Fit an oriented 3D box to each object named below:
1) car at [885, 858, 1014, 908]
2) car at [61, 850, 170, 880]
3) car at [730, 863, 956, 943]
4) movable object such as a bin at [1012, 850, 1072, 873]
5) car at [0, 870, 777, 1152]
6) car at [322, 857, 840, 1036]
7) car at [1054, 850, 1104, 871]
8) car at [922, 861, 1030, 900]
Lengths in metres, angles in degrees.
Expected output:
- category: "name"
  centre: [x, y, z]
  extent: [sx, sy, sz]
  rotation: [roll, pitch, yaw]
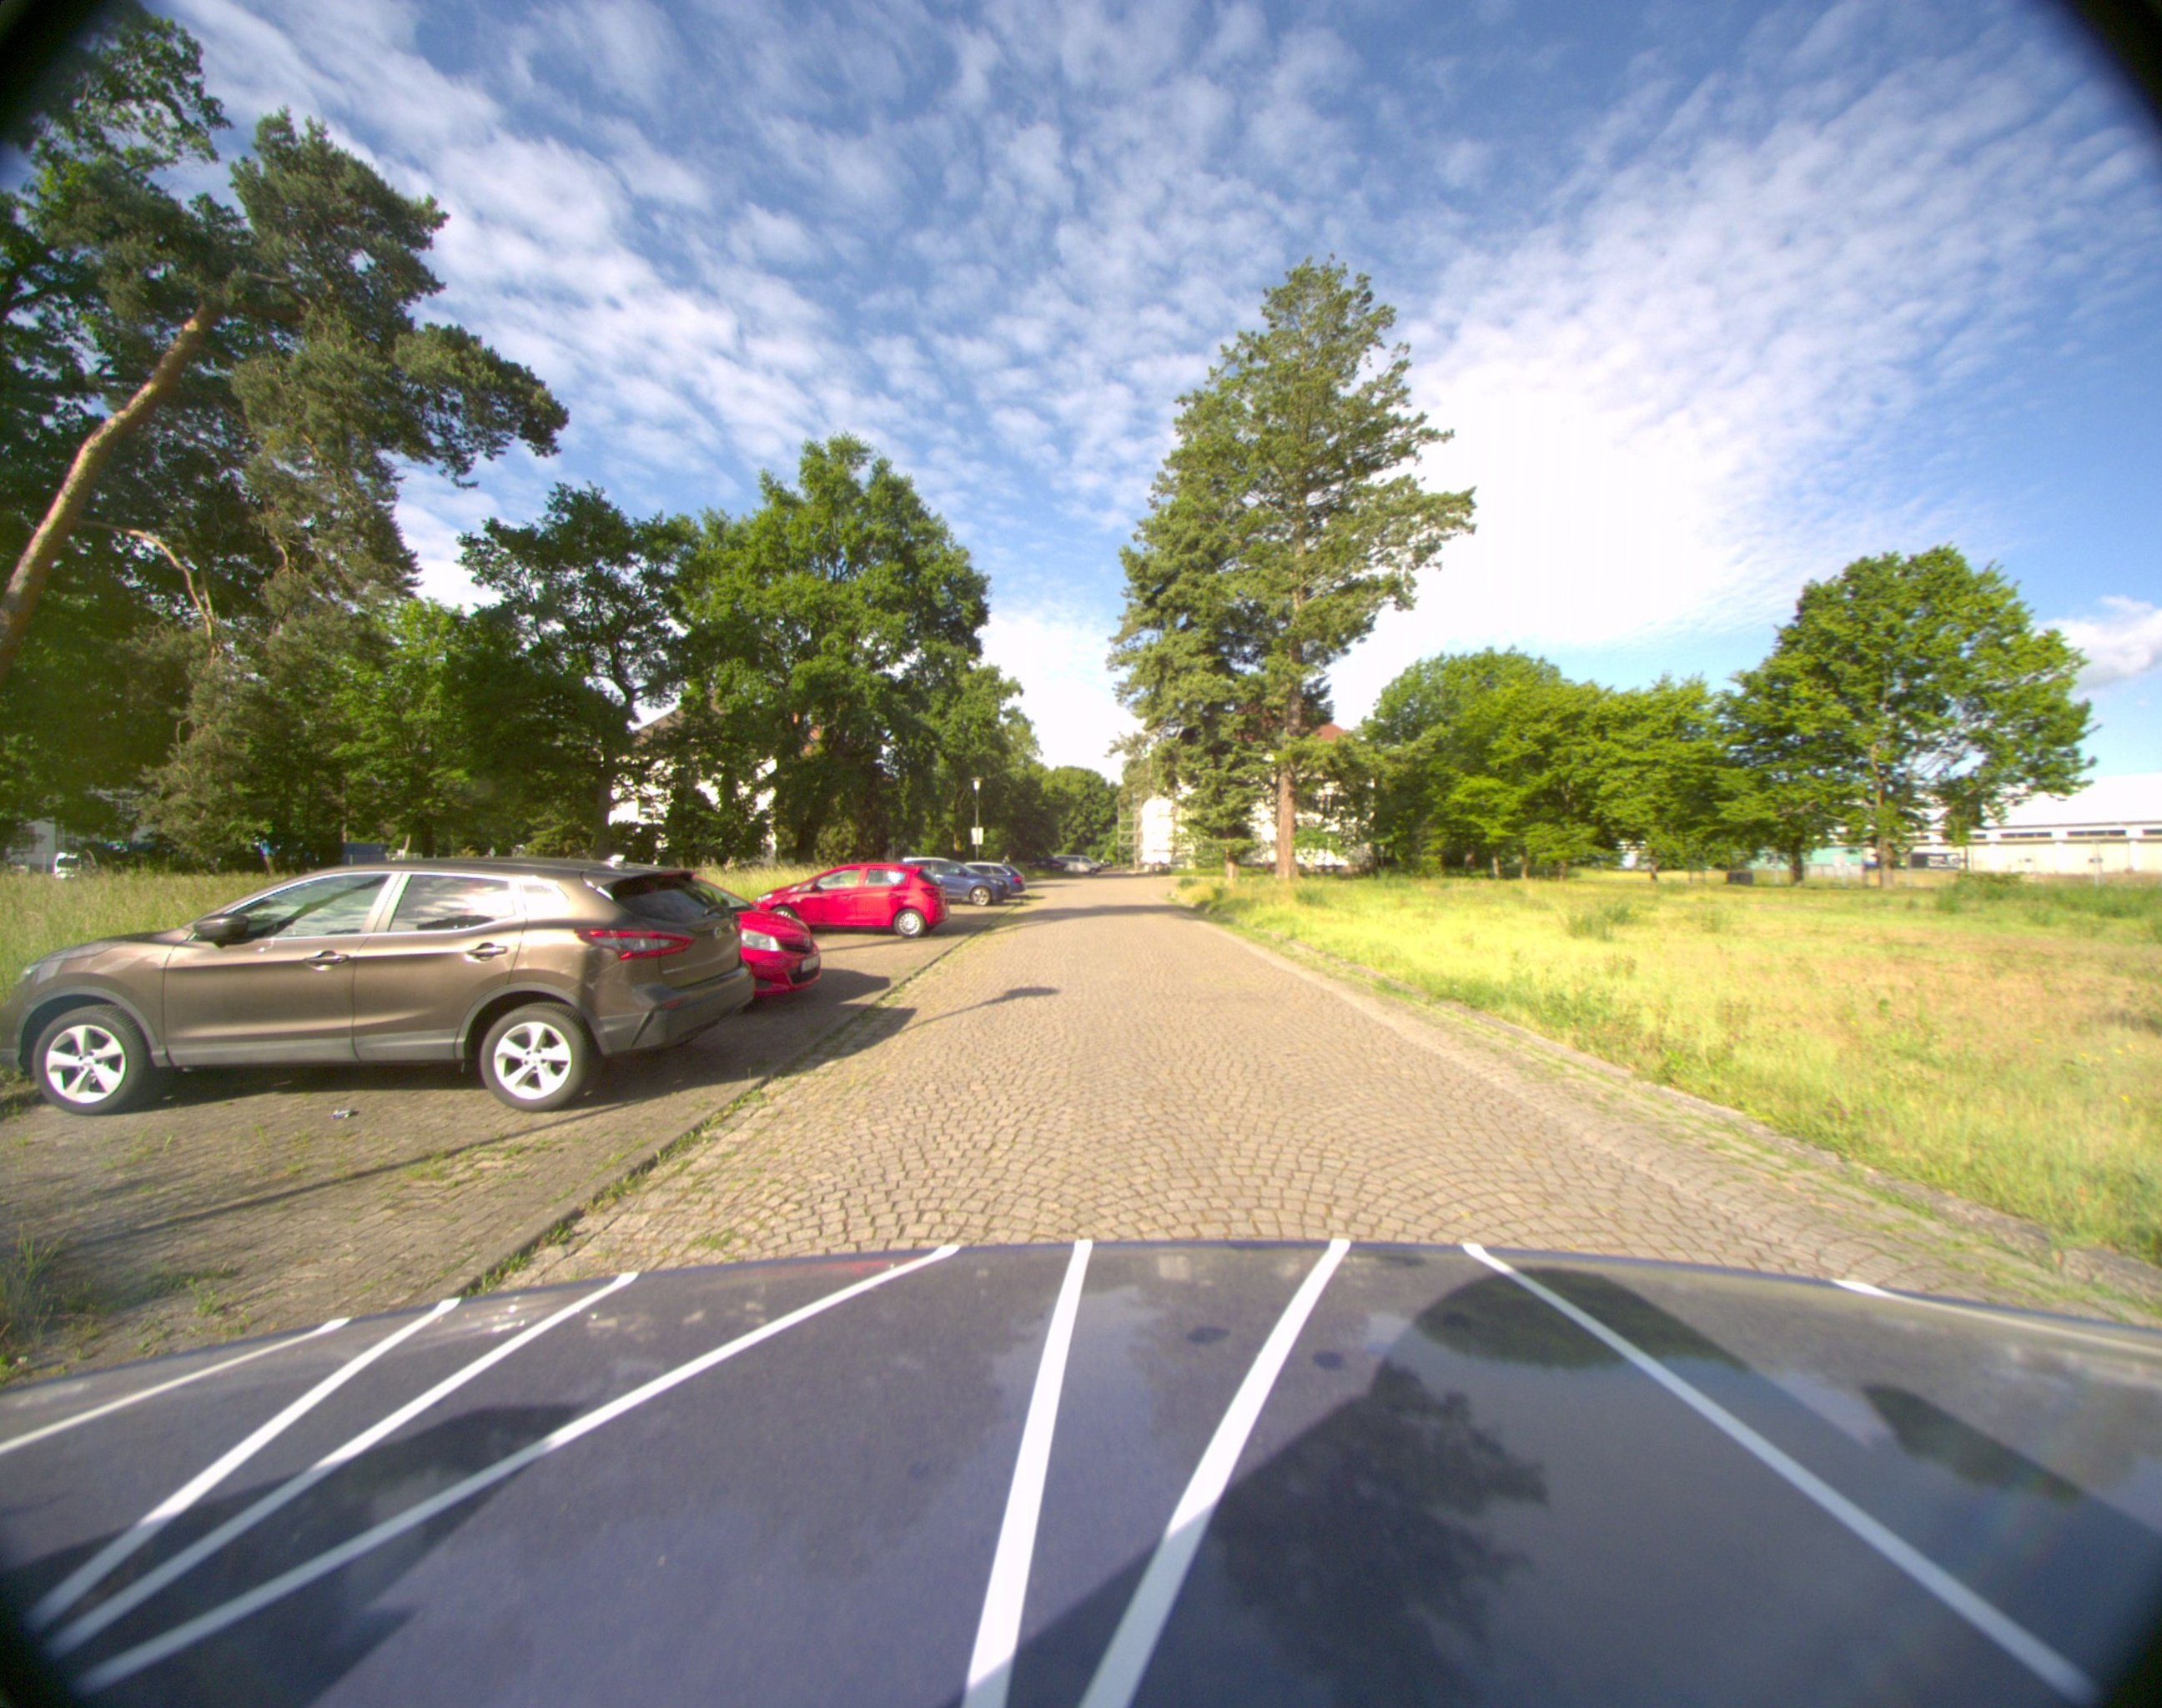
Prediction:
- category: "car"
  centre: [-4.439, 0.960, 26.076]
  extent: [4.098, 1.548, 1.853]
  rotation: [1, 0, -1]
- category: "car"
  centre: [-67.801, 0.737, 53.467]
  extent: [1.906, 1.928, 4.395]
  rotation: [-2, 1, 2]
- category: "car"
  centre: [-4.817, 0.974, 15.852]
  extent: [4.098, 1.451, 1.853]
  rotation: [1, 0, -1]
- category: "movable object such as a bin"
  centre: [-3.410, 0.662, 66.615]
  extent: [4.865, 2.002, 2.002]
  rotation: [-1, 0, 13]
- category: "car"
  centre: [-4.684, 0.946, 5.452]
  extent: [4.237, 1.588, 1.934]
  rotation: [0, 1, -2]
- category: "car"
  centre: [-5.014, 0.889, 8.160]
  extent: [4.237, 1.588, 1.934]
  rotation: [1, 1, -2]
- category: "car"
  centre: [-0.232, 0.657, 79.517]
  extent: [4.933, 2.002, 1.999]
  rotation: [1, 1, -6]
- category: "car"
  centre: [-4.186, 1.053, 30.763]
  extent: [4.098, 1.414, 1.784]
  rotation: [1, 0, -1]
